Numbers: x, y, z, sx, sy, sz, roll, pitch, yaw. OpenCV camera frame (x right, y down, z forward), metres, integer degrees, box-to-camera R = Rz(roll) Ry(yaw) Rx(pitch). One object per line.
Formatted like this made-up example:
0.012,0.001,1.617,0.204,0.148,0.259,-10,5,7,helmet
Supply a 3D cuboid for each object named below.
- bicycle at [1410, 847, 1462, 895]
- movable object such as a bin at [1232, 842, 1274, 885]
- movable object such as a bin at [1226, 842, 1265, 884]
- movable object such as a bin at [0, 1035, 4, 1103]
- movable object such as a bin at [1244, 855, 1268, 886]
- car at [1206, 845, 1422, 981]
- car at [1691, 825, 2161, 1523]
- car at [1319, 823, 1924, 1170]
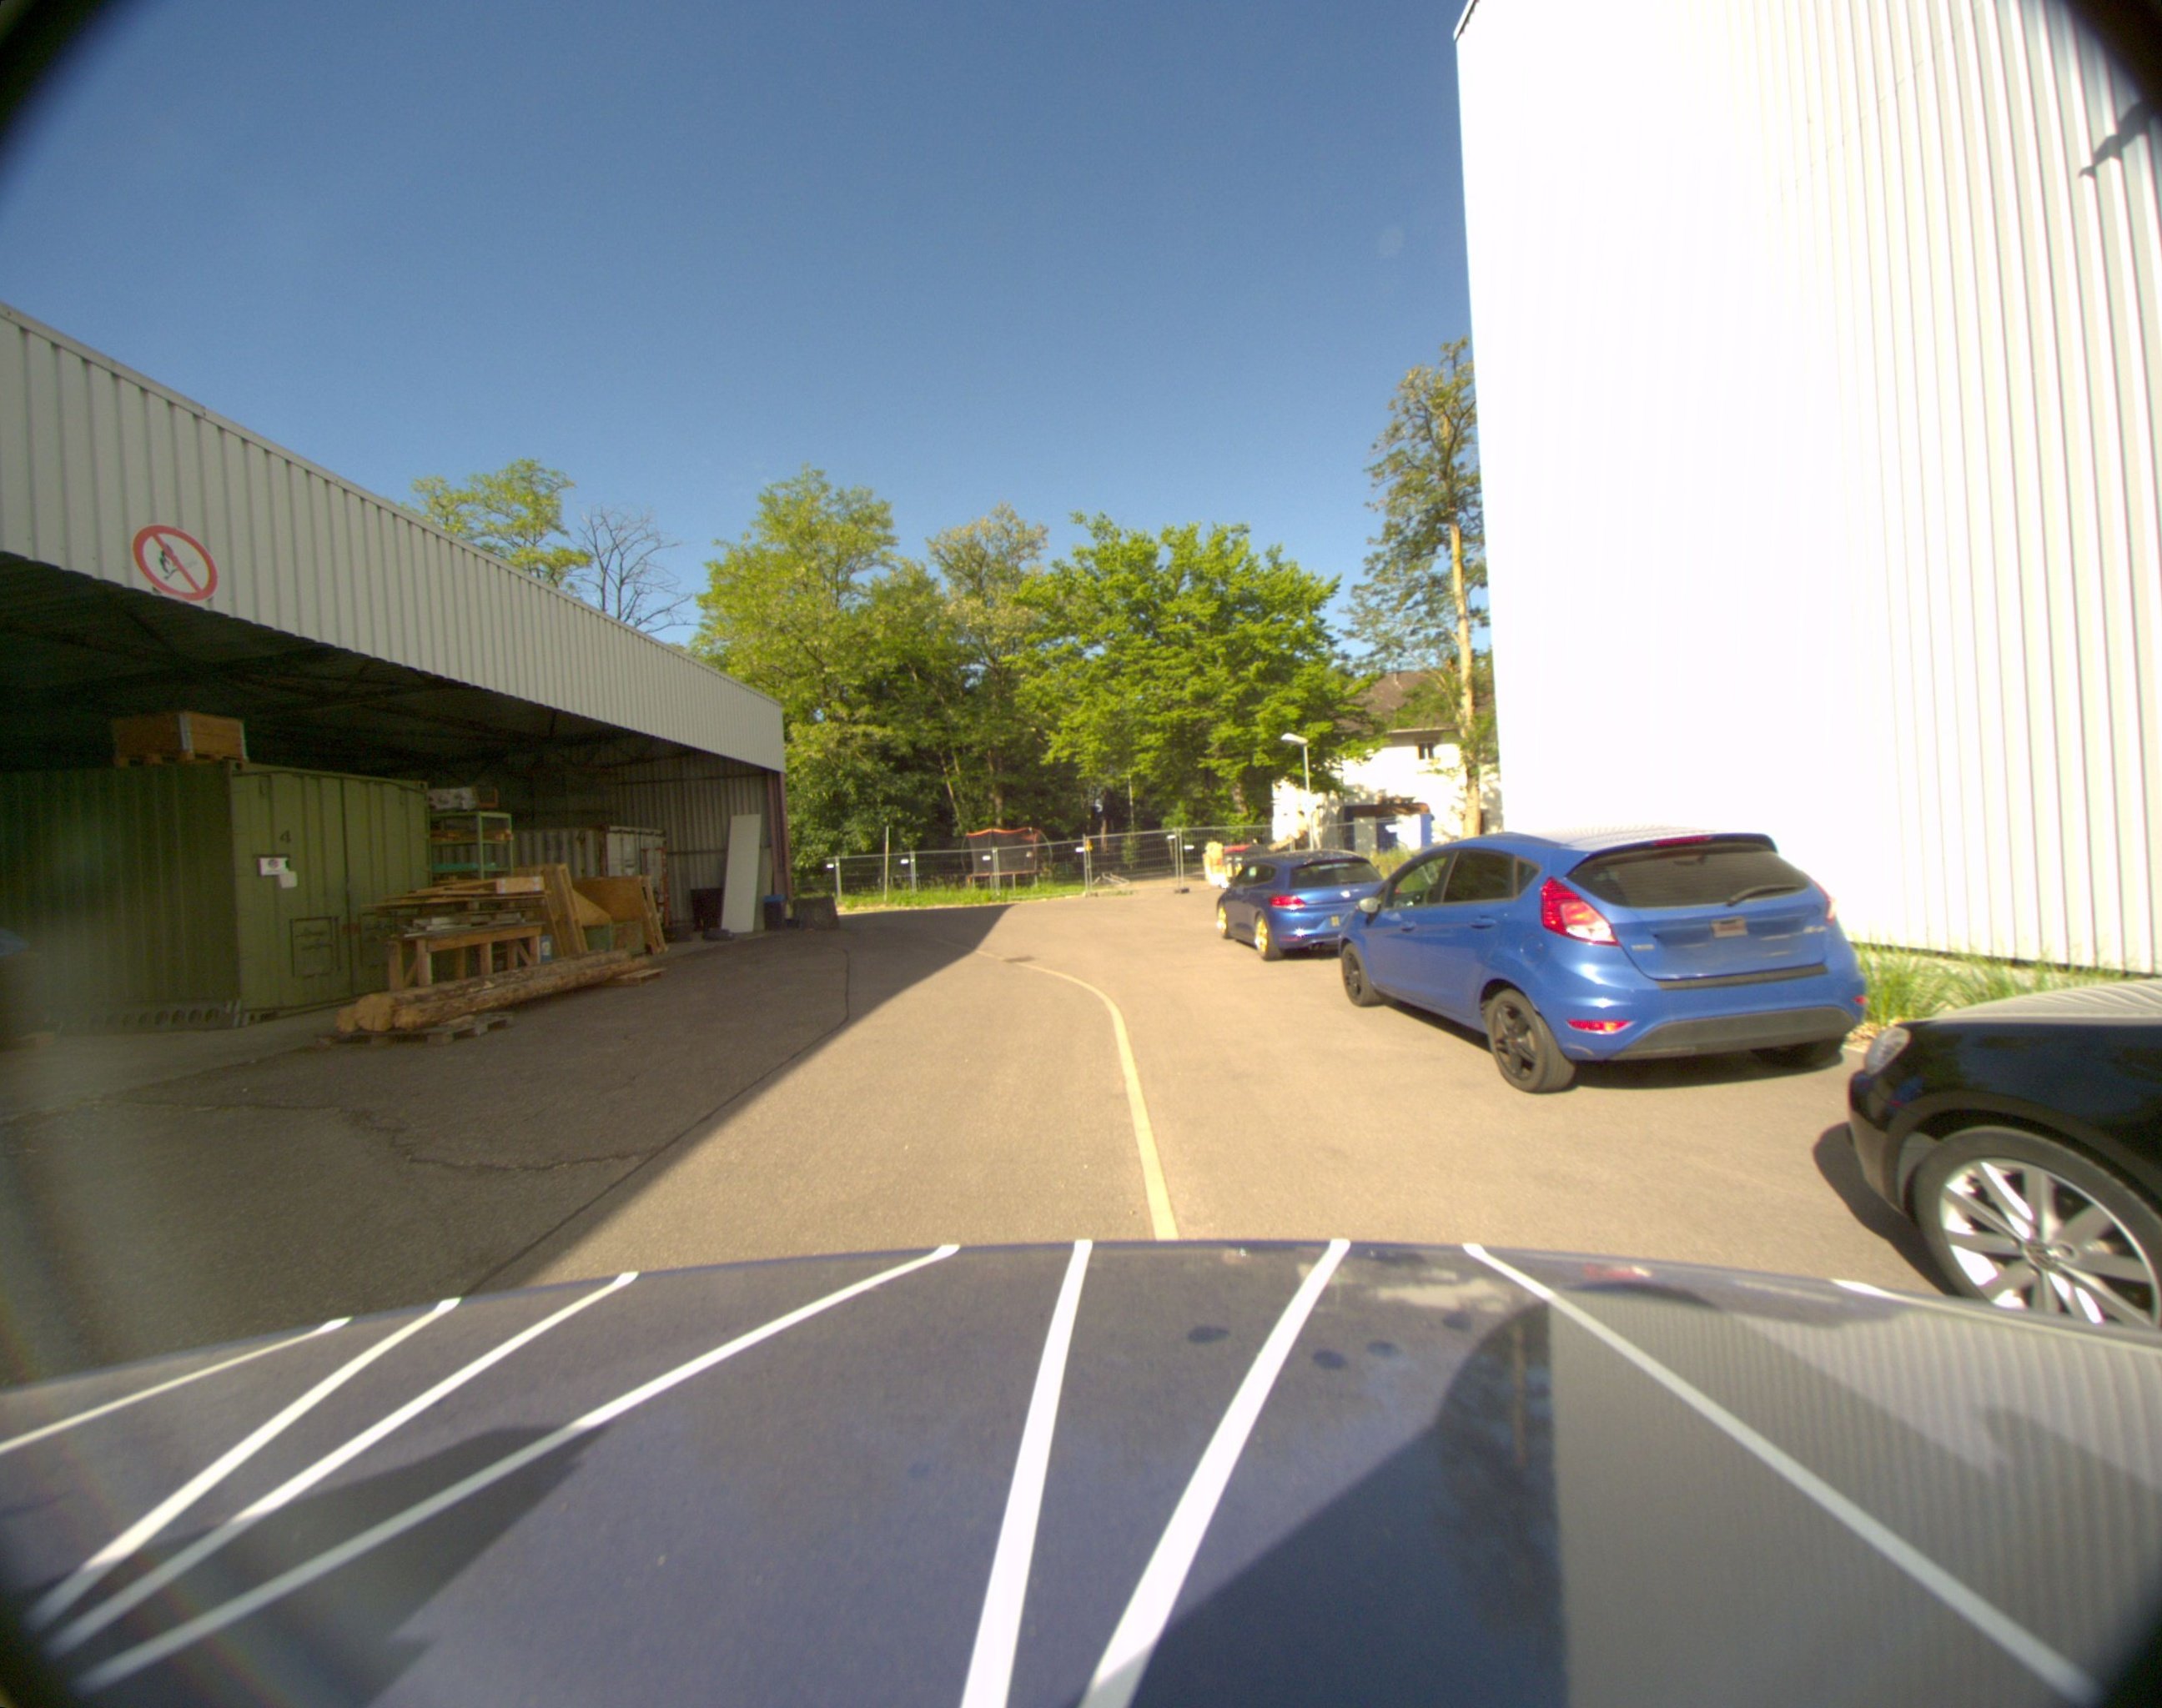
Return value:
8.512,0.386,18.262,0.393,1.079,1.706,-2,0,-1,bicycle
5.998,0.333,26.560,1.141,1.426,1.289,-2,0,1,movable object such as a bin
6.020,0.335,27.924,1.141,1.469,1.280,-2,-1,1,movable object such as a bin
-11.519,0.652,4.616,5.848,2.908,2.820,-3,0,1,movable object such as a bin
5.844,0.549,25.380,0.688,1.017,0.707,-2,-1,6,movable object such as a bin
3.056,0.709,10.822,1.716,1.440,3.798,-5,0,-1,car
3.209,0.685,0.685,1.761,1.437,4.315,-6,0,1,car
3.088,0.677,5.311,1.552,1.479,3.522,-5,0,-1,car
